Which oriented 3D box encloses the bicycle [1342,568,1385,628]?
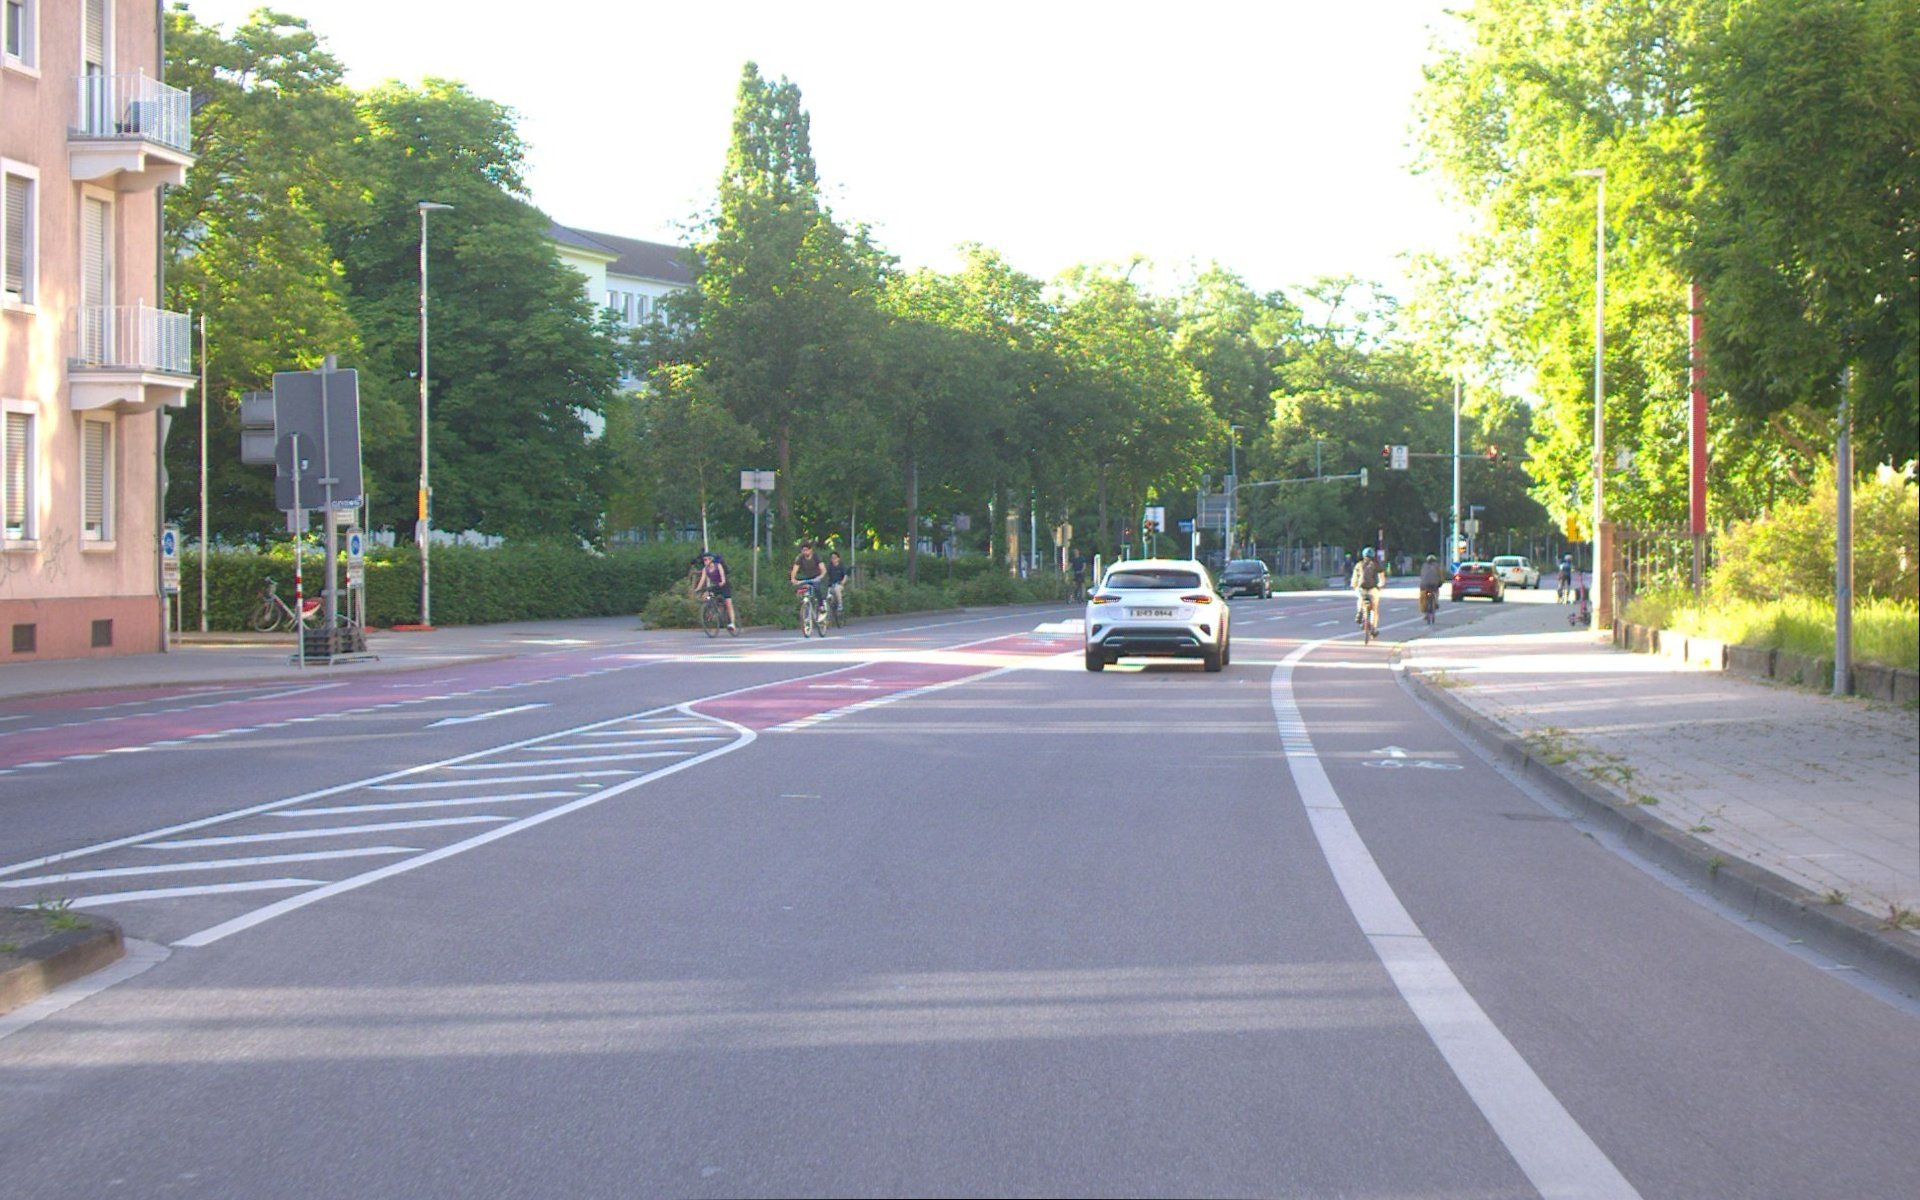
[{"bbox_3d":[7.277,-0.043,61.957,0.643,1.021,2.212,2,1,9],"label":"bicycle"}]

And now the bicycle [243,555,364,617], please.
[{"bbox_3d":[-13.072,-0.283,68.499,2.321,1.225,0.560,0,1,12],"label":"bicycle"}]

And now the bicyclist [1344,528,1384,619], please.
[{"bbox_3d":[7.299,-0.484,62.024,0.636,1.609,1.283,1,1,9],"label":"bicyclist"}]

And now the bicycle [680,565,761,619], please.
[{"bbox_3d":[-4.767,-0.165,68.626,0.738,0.992,2.107,0,2,23],"label":"bicycle"}]

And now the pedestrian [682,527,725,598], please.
[{"bbox_3d":[-6.752,-0.981,90.559,0.856,1.845,1.001,-1,0,11],"label":"pedestrian"}]

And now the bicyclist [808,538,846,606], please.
[{"bbox_3d":[-2.964,-0.633,76.657,0.656,1.480,0.665,-3,1,7],"label":"bicyclist"}]

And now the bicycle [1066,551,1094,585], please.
[{"bbox_3d":[3.998,-1.069,114.490,0.597,1.117,2.026,-3,0,10],"label":"bicycle"}]

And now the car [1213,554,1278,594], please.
[{"bbox_3d":[10.462,-0.957,125.825,1.759,1.454,3.998,0,1,13],"label":"car"}]

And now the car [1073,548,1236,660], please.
[{"bbox_3d":[2.701,0.028,46.930,1.994,1.448,3.999,0,1,6],"label":"car"}]

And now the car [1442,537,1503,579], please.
[{"bbox_3d":[18.867,-1.547,126.515,1.930,1.528,3.998,0,1,13],"label":"car"}]

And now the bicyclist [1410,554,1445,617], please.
[{"bbox_3d":[11.566,-0.359,85.020,0.748,1.532,0.969,1,1,13],"label":"bicyclist"}]

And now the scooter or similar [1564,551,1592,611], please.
[{"bbox_3d":[12.832,-0.395,71.393,0.297,1.236,1.161,-1,1,-4],"label":"scooter or similar"}]

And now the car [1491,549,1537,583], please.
[{"bbox_3d":[25.165,-1.551,156.139,1.738,1.541,3.998,0,1,14],"label":"car"}]

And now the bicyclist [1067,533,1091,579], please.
[{"bbox_3d":[3.981,-1.471,114.542,0.629,1.517,0.724,-3,1,10],"label":"bicyclist"}]

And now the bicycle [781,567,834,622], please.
[{"bbox_3d":[-2.860,-0.114,64.785,0.646,0.992,2.109,-1,1,7],"label":"bicycle"}]

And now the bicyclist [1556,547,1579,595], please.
[{"bbox_3d":[22.490,-1.086,127.310,0.750,1.744,0.842,1,1,12],"label":"bicyclist"}]

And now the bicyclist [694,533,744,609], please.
[{"bbox_3d":[-4.803,-0.581,68.555,0.738,1.480,0.664,-2,1,23],"label":"bicyclist"}]

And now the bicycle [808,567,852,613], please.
[{"bbox_3d":[-2.900,-0.227,76.814,0.651,0.992,2.109,-1,1,7],"label":"bicycle"}]

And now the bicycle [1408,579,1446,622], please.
[{"bbox_3d":[11.545,0.007,84.919,0.753,1.022,1.868,1,0,12],"label":"bicycle"}]

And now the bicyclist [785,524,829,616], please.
[{"bbox_3d":[-2.880,-0.570,64.939,0.635,1.704,0.738,-3,1,7],"label":"bicyclist"}]
